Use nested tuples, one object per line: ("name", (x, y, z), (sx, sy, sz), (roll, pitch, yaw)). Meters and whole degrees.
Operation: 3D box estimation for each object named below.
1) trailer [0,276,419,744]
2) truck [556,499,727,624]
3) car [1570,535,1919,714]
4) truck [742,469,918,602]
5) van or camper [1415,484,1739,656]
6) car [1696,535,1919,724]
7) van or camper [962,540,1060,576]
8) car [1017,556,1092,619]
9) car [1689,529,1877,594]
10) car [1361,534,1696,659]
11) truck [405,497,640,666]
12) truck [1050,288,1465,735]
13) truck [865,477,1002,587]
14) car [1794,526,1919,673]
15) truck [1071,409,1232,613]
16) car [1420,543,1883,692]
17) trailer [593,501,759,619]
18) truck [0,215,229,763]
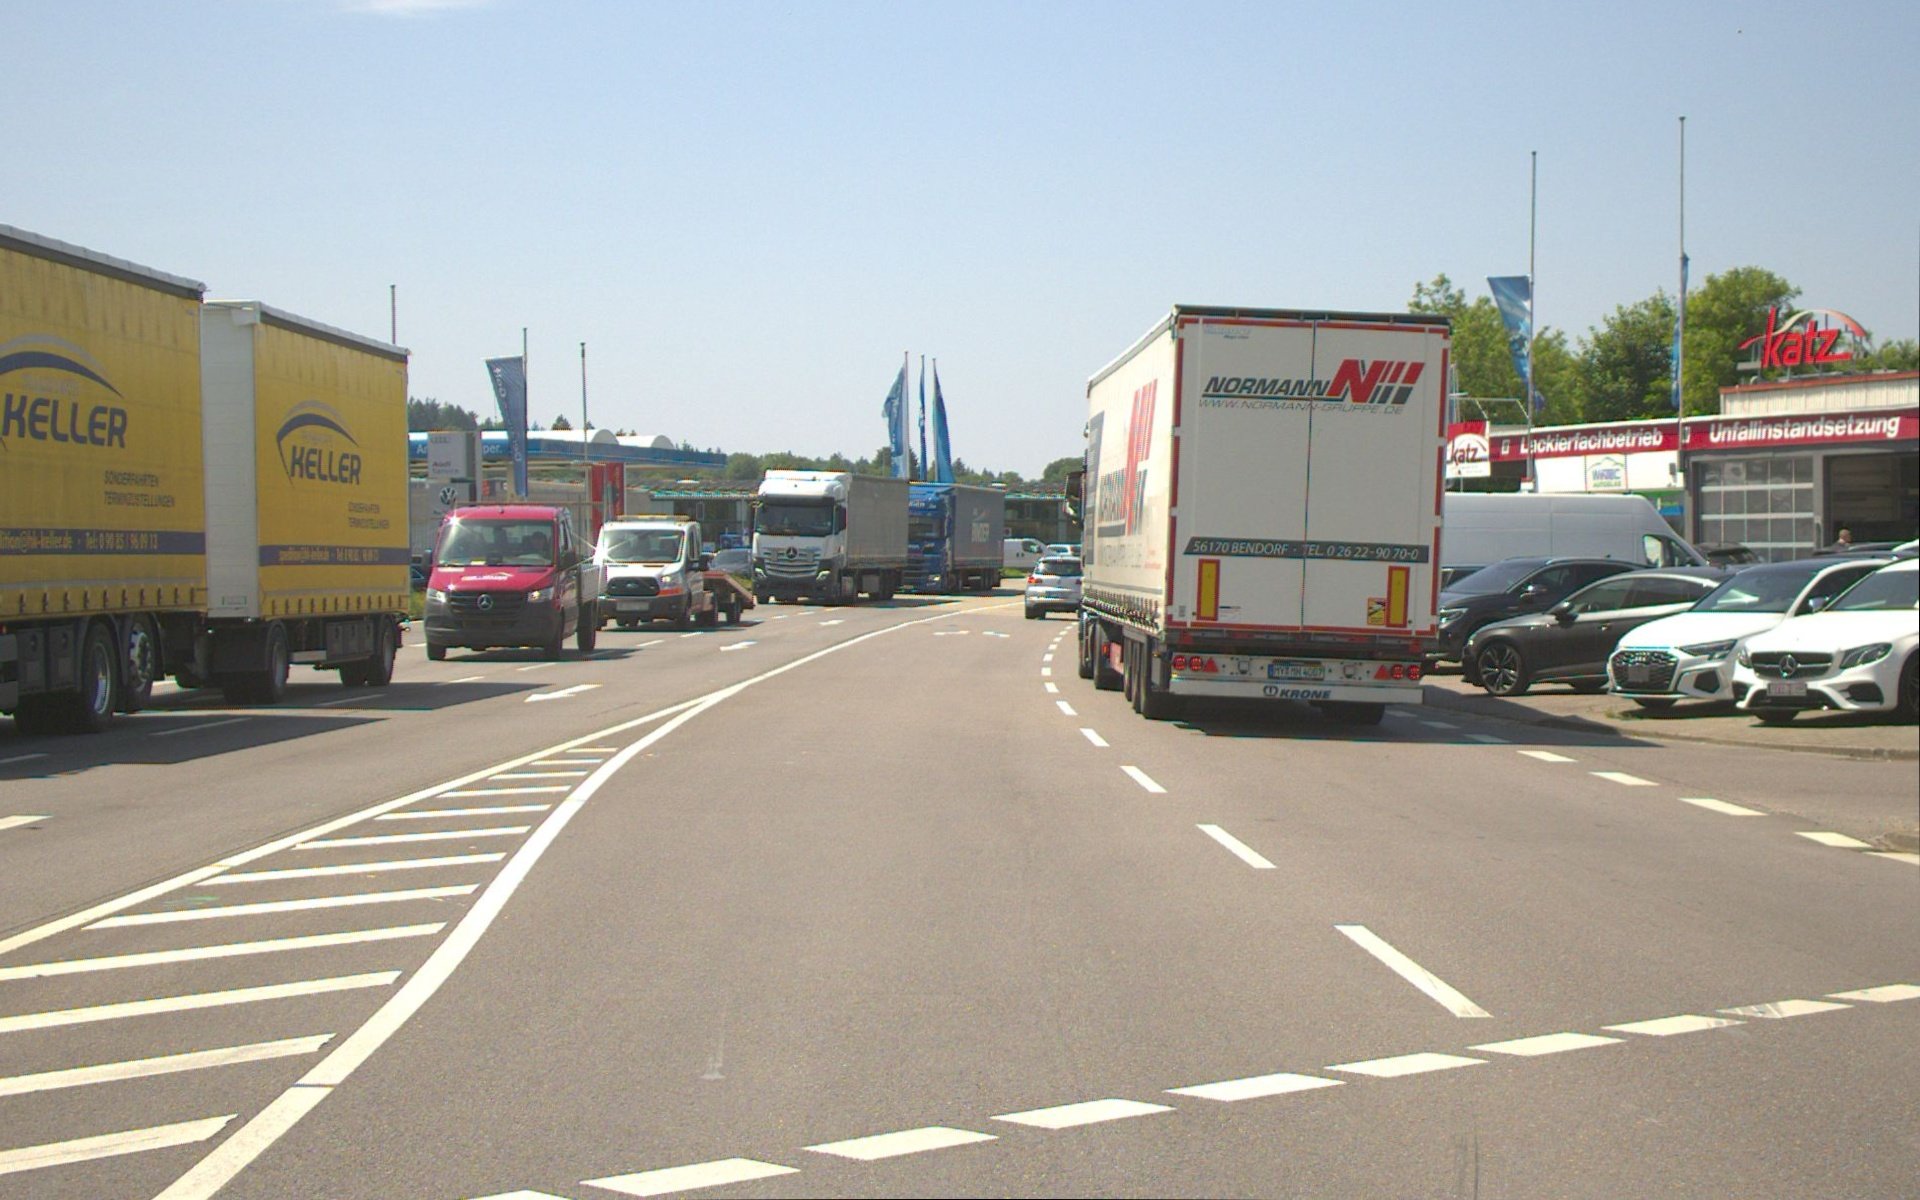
("trailer", (-8.265, -0.905, 36.799), (3.011, 4.272, 10.058), (-1, 1, 2))
("truck", (-6.408, -0.804, 69.908), (2.425, 2.332, 5.674), (-3, 1, 4))
("car", (8.652, 0.208, 35.593), (4.462, 1.404, 1.746), (-6, 3, -31))
("truck", (-3.889, -1.952, 108.405), (2.791, 3.876, 16.478), (0, 1, 8))
("van or camper", (10.837, -0.529, 60.682), (5.369, 2.895, 2.232), (-1, 1, 4))
("car", (9.450, 0.189, 33.106), (4.726, 1.547, 1.999), (-5, 2, -38))
("van or camper", (2.677, -2.184, 179.618), (4.849, 1.898, 1.903), (0, 0, 11))
("car", (2.488, -0.336, 90.983), (1.923, 1.605, 4.095), (-1, 0, 1))
("car", (17.761, -0.833, 74.212), (3.587, 1.369, 1.678), (0, 1, -20))
("car", (8.217, -0.061, 49.677), (4.325, 1.619, 2.062), (-2, 1, -25))
("truck", (-6.644, -0.307, 53.048), (2.396, 2.436, 6.871), (0, 1, 3))
("truck", (2.953, -0.935, 40.220), (2.973, 4.079, 17.636), (0, 1, -1))
("truck", (-0.845, -2.494, 130.197), (2.845, 3.876, 17.000), (0, 1, 8))
("car", (12.490, -0.097, 41.786), (1.849, 1.708, 4.146), (-3, -1, -43))
("truck", (3.812, -1.788, 71.268), (2.648, 3.793, 13.360), (-1, 1, 1))
("car", (7.829, 0.228, 39.327), (1.923, 1.382, 4.932), (-3, -1, -43))
("trailer", (-6.064, -0.880, 74.407), (2.428, 2.330, 6.896), (-3, 1, 4))
("truck", (-8.628, -0.835, 27.404), (3.029, 4.091, 10.355), (-1, 1, 2))
